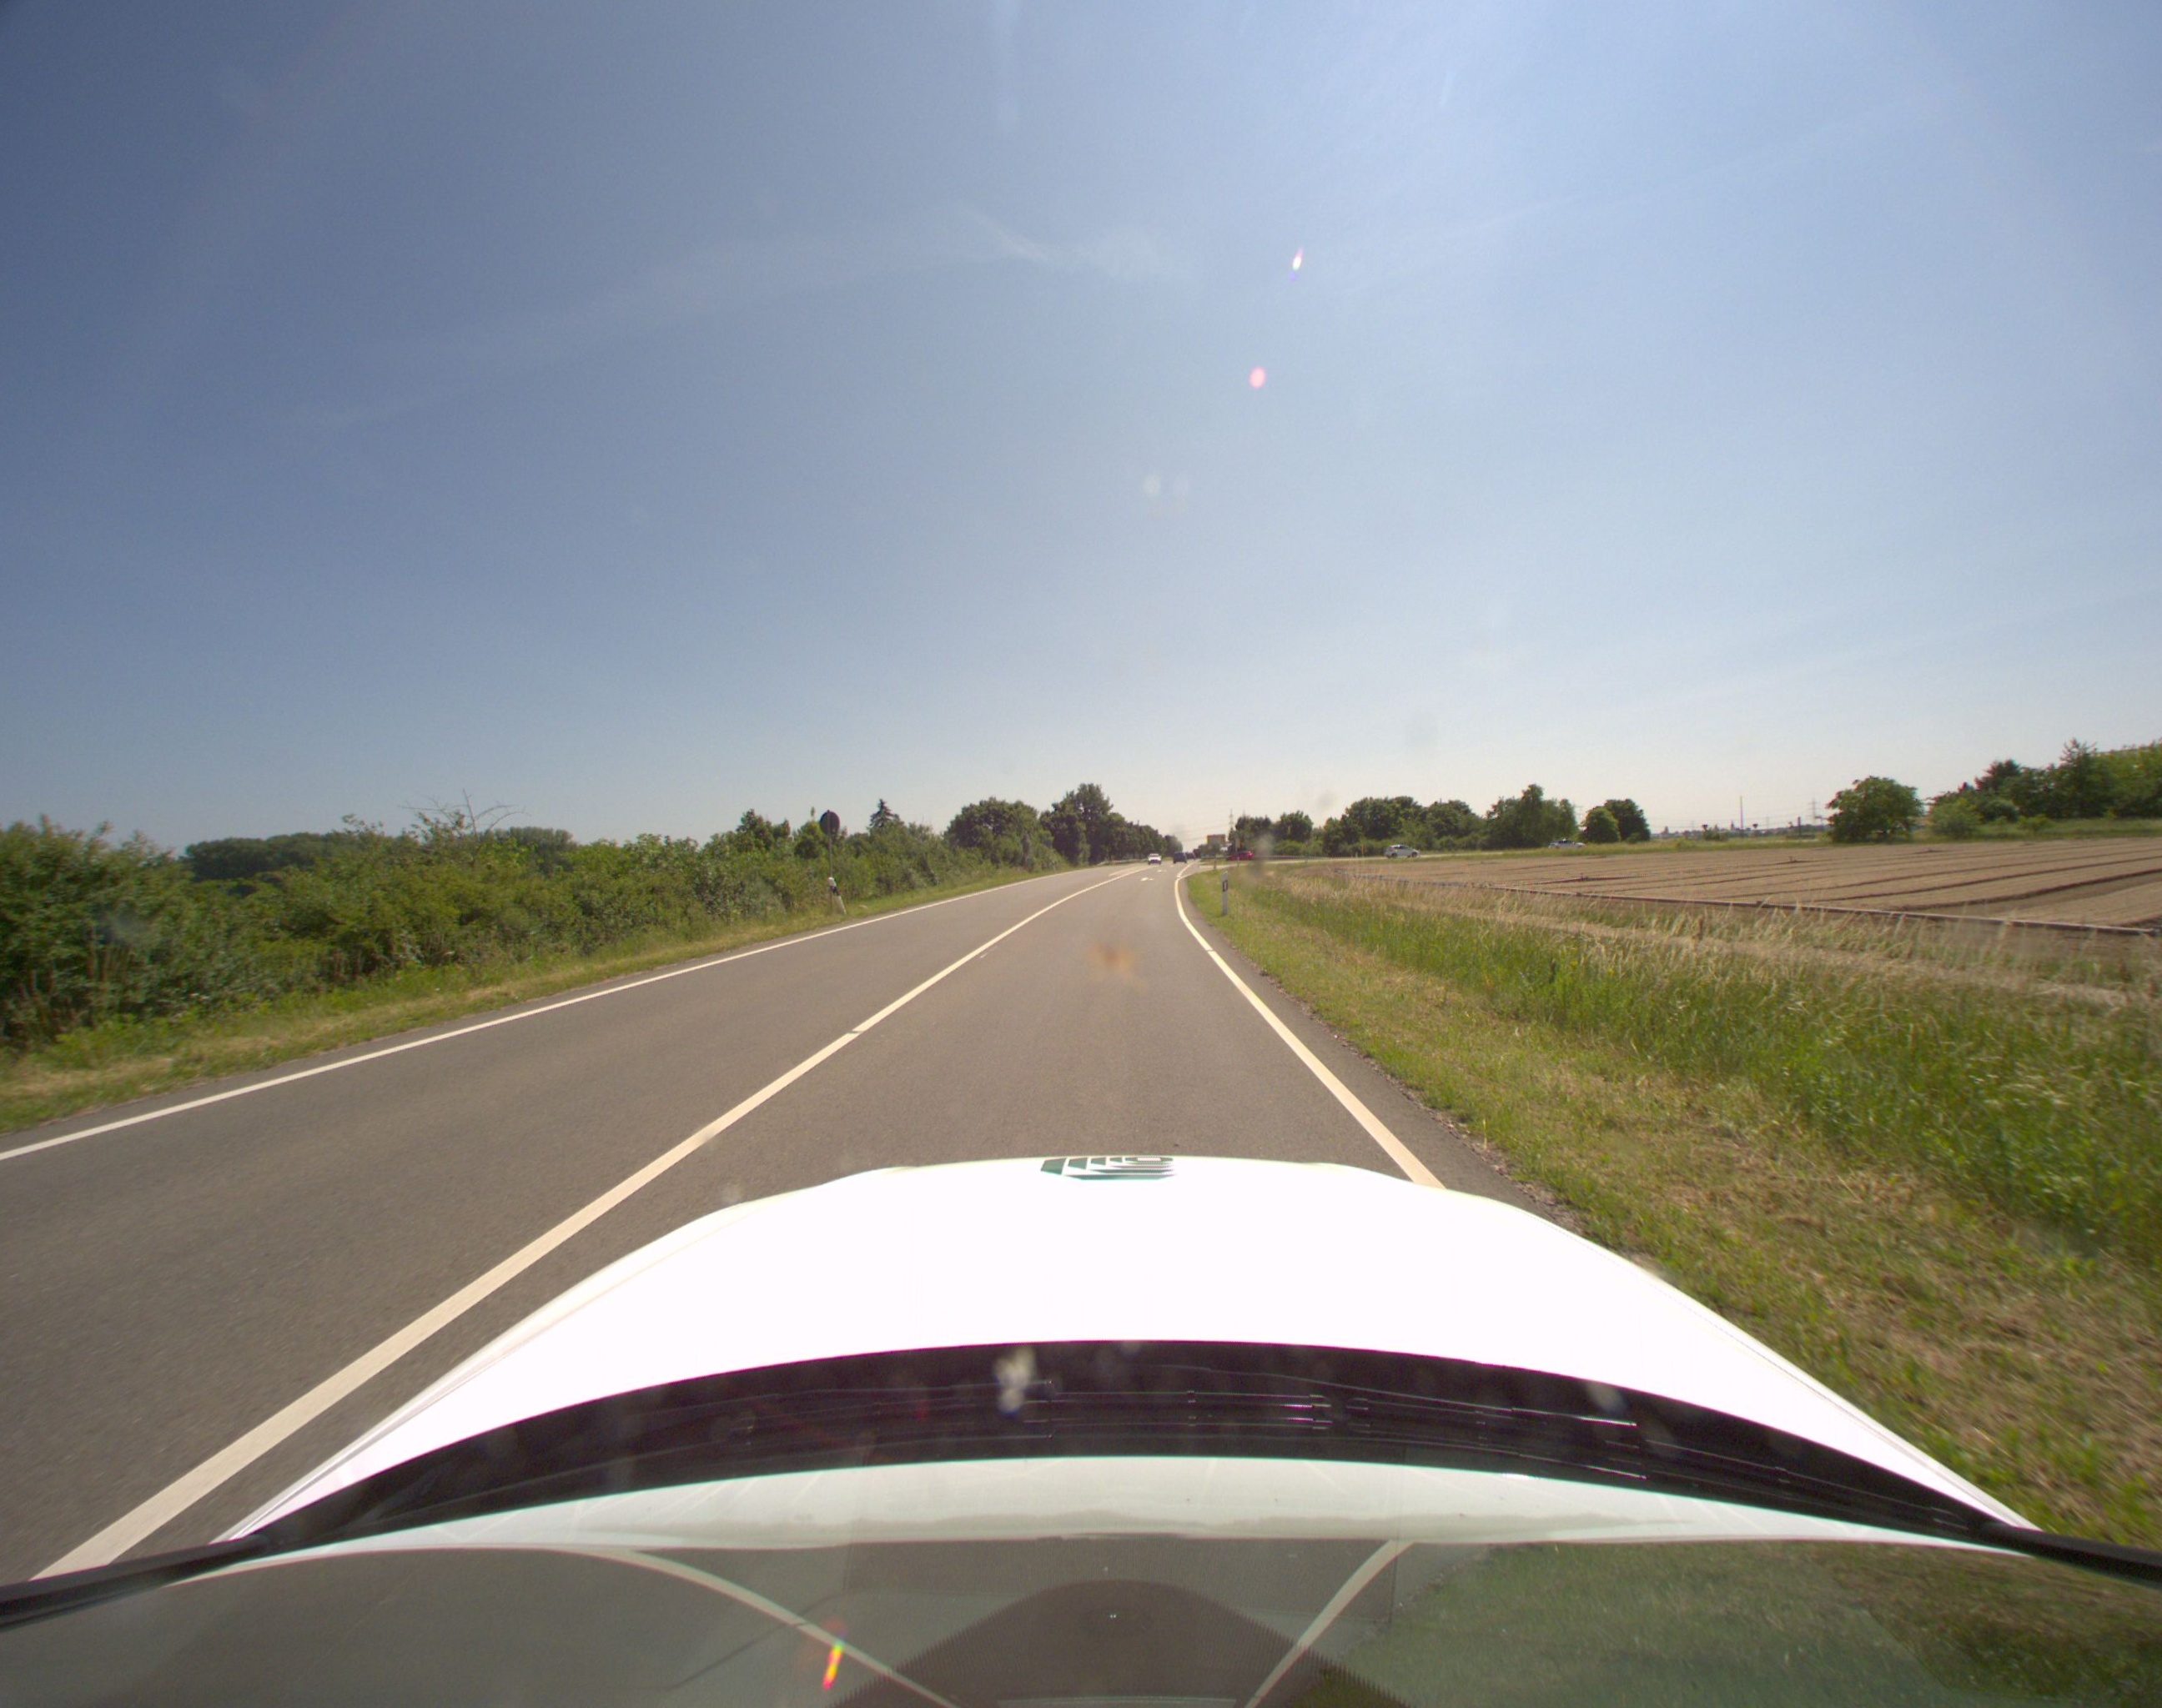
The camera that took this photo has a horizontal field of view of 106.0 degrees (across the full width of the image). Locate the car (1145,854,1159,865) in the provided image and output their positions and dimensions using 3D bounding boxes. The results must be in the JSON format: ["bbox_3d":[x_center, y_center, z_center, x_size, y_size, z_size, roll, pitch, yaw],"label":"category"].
[{"bbox_3d":[10.117,0.771,115.826,1.826,1.418,4.722,-1,0,5],"label":"car"}]

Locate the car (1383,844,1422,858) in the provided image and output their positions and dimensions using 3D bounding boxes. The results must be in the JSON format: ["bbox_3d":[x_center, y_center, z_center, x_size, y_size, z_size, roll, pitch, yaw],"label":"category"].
[{"bbox_3d":[41.031,-0.425,103.908,4.114,1.623,2.072,-2,0,1],"label":"car"}]

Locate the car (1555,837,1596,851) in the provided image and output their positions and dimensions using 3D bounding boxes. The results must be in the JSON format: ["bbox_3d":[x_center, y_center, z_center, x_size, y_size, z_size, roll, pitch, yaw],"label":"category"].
[{"bbox_3d":[60.526,-1.216,99.712,3.953,1.623,1.653,-2,-1,20],"label":"car"}]

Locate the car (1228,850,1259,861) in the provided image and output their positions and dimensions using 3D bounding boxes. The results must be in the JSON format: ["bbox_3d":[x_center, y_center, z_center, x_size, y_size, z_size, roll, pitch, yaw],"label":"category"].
[{"bbox_3d":[23.079,0.199,115.717,4.116,1.418,1.789,-2,-1,22],"label":"car"}]

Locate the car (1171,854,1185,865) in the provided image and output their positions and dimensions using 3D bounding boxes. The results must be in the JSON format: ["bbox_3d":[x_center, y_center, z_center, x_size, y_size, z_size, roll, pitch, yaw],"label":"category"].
[{"bbox_3d":[14.070,0.812,118.230,1.874,1.518,4.048,-1,0,7],"label":"car"}]

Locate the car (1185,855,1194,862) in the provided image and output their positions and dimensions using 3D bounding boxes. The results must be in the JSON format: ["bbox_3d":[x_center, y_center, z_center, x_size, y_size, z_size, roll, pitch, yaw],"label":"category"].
[{"bbox_3d":[20.530,0.895,154.095,1.635,1.341,4.048,-1,0,7],"label":"car"}]
